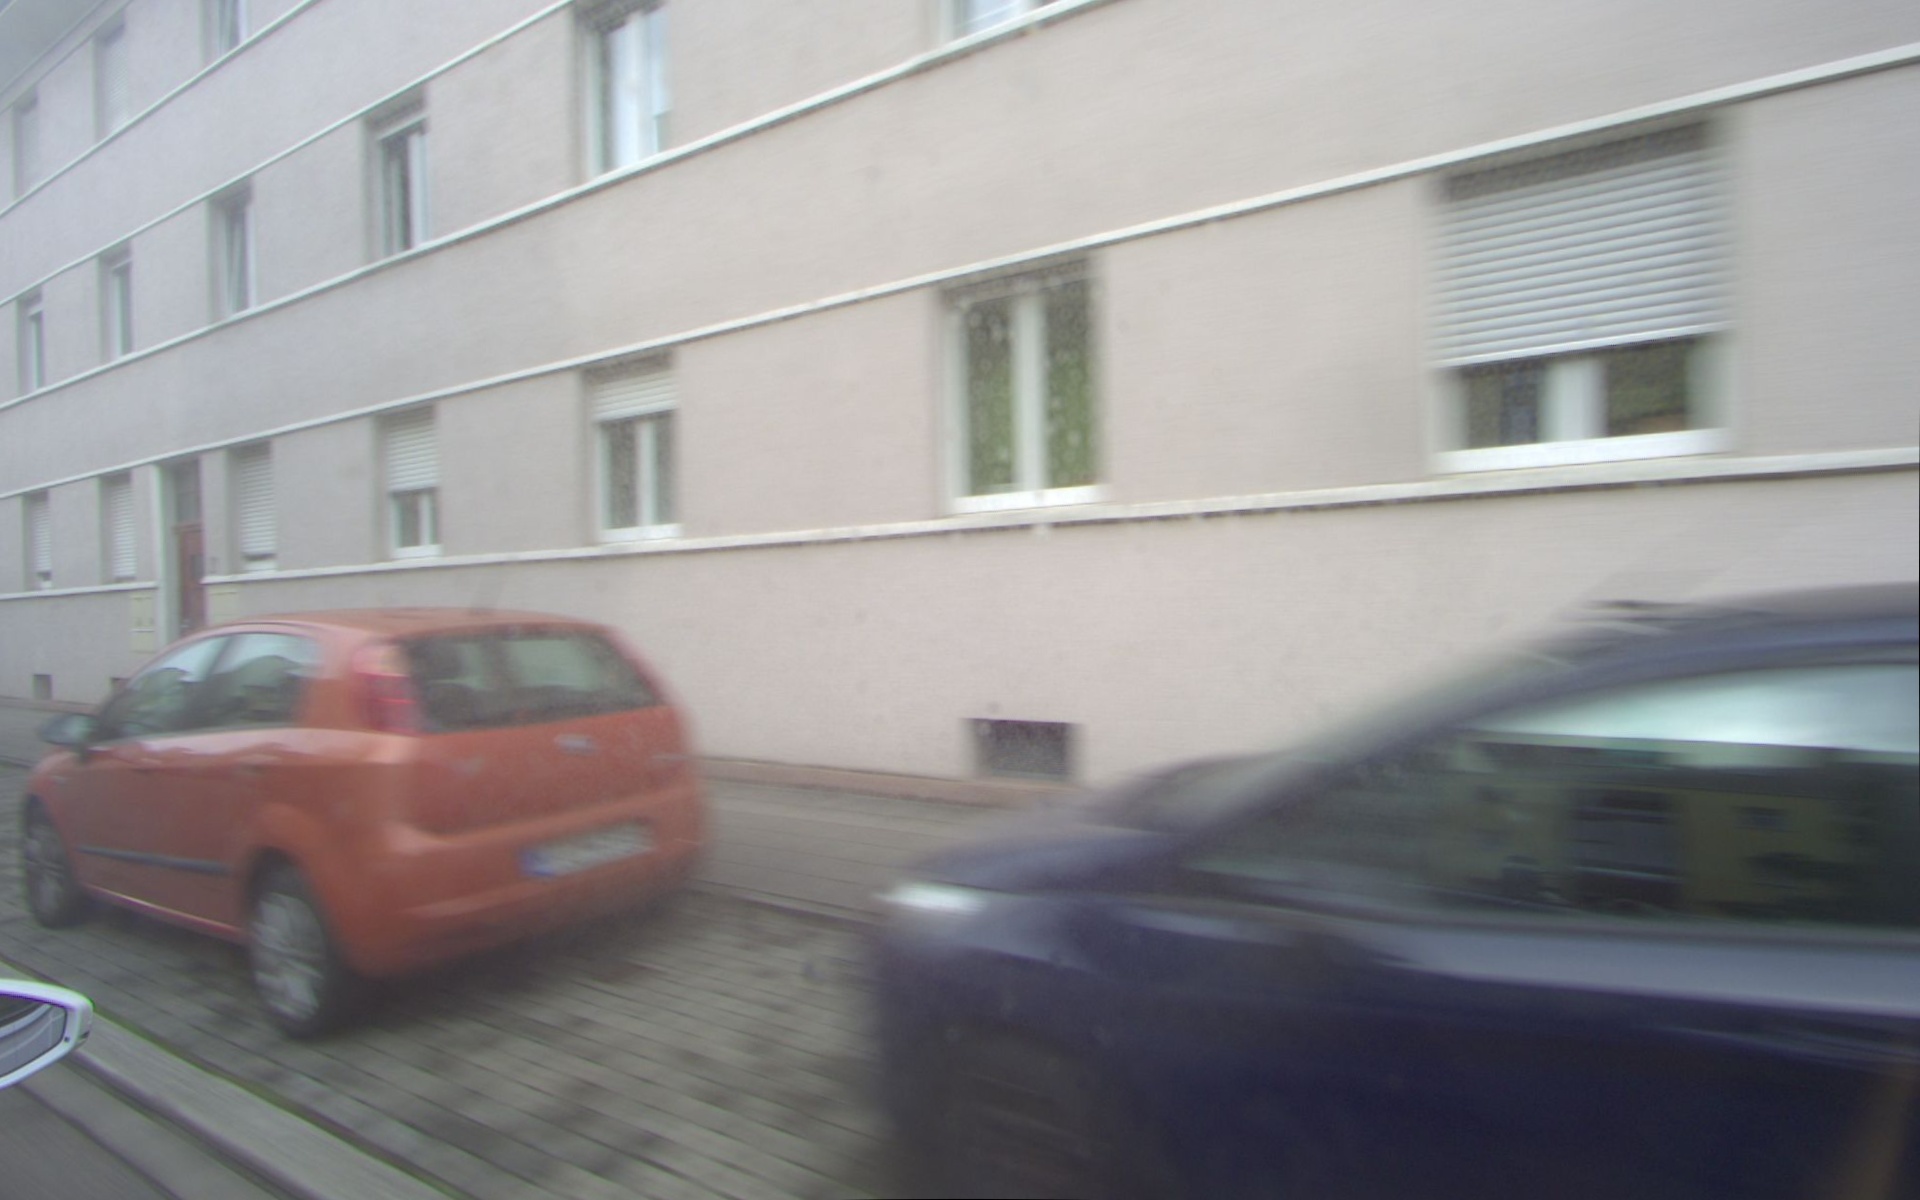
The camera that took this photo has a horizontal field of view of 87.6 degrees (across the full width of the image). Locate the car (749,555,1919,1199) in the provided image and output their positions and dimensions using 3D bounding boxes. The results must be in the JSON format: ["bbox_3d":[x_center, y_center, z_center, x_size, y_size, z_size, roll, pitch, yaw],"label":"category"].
[{"bbox_3d":[1.439,0.672,2.130,3.645,1.493,1.562,-1,2,34],"label":"car"}]

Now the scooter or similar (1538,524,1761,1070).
[{"bbox_3d":[2.813,0.750,4.135,0.340,2.039,0.677,1,-2,-19],"label":"scooter or similar"}]

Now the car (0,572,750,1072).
[{"bbox_3d":[-2.995,0.708,4.821,3.771,1.545,1.692,-1,1,33],"label":"car"}]
